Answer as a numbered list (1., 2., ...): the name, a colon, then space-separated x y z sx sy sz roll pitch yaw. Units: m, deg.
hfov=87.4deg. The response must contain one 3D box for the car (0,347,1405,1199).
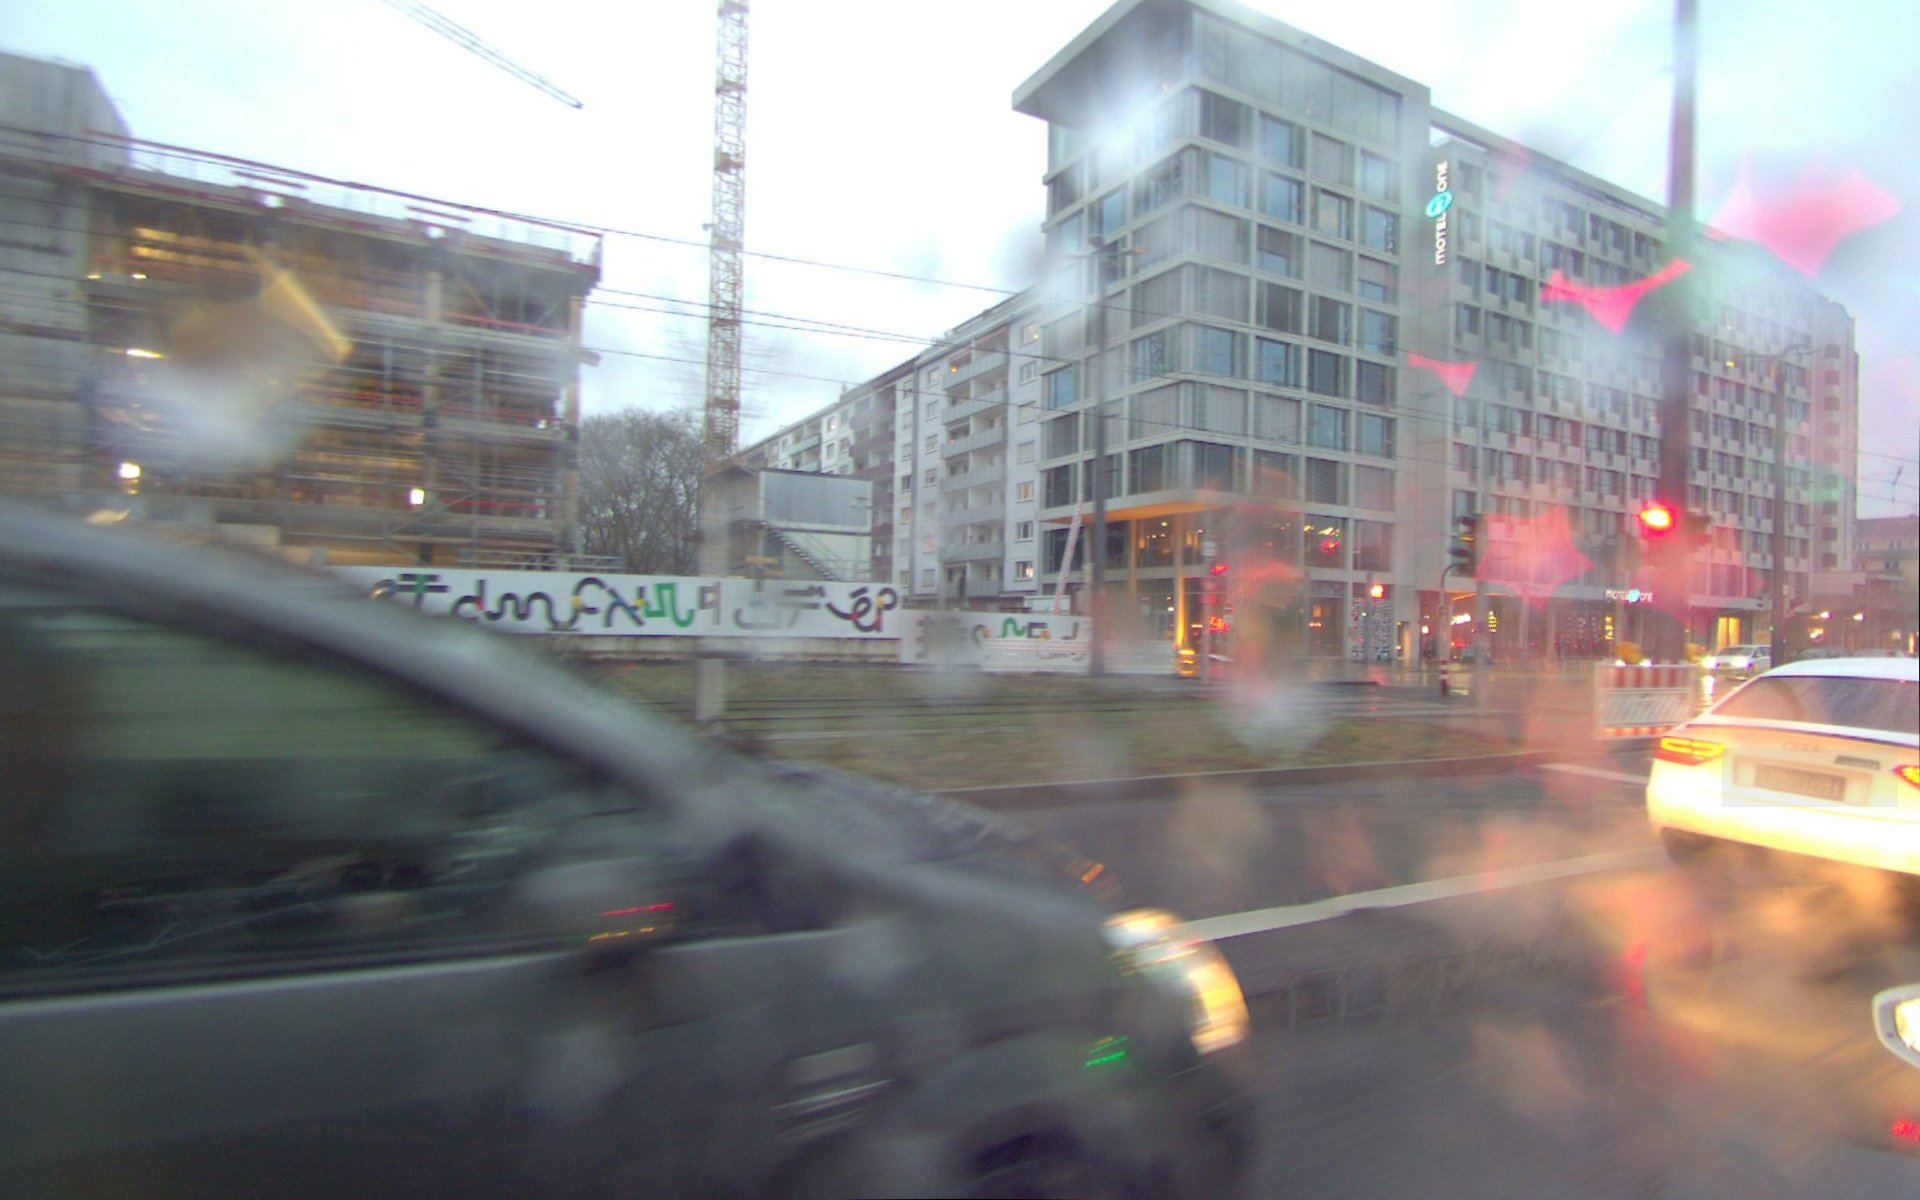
1. car: -1.277 0.570 1.661 3.956 1.615 1.750 3 0 -32

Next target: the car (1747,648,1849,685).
1. car: 38.537 3.061 46.187 5.035 1.481 1.984 3 0 -30

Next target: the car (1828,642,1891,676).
1. car: 44.565 2.892 49.733 5.062 1.481 1.974 3 0 -45

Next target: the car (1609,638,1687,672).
1. car: 35.540 2.844 51.840 3.956 1.595 1.871 3 0 -32

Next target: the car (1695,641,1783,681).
1. car: 38.548 3.037 49.707 4.545 1.813 1.872 3 0 -31

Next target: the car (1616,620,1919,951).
1. car: 6.036 0.960 6.173 4.205 1.489 1.750 3 0 -32

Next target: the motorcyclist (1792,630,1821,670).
1. motorcyclist: 42.454 2.498 50.350 1.024 1.910 0.864 2 0 -38
